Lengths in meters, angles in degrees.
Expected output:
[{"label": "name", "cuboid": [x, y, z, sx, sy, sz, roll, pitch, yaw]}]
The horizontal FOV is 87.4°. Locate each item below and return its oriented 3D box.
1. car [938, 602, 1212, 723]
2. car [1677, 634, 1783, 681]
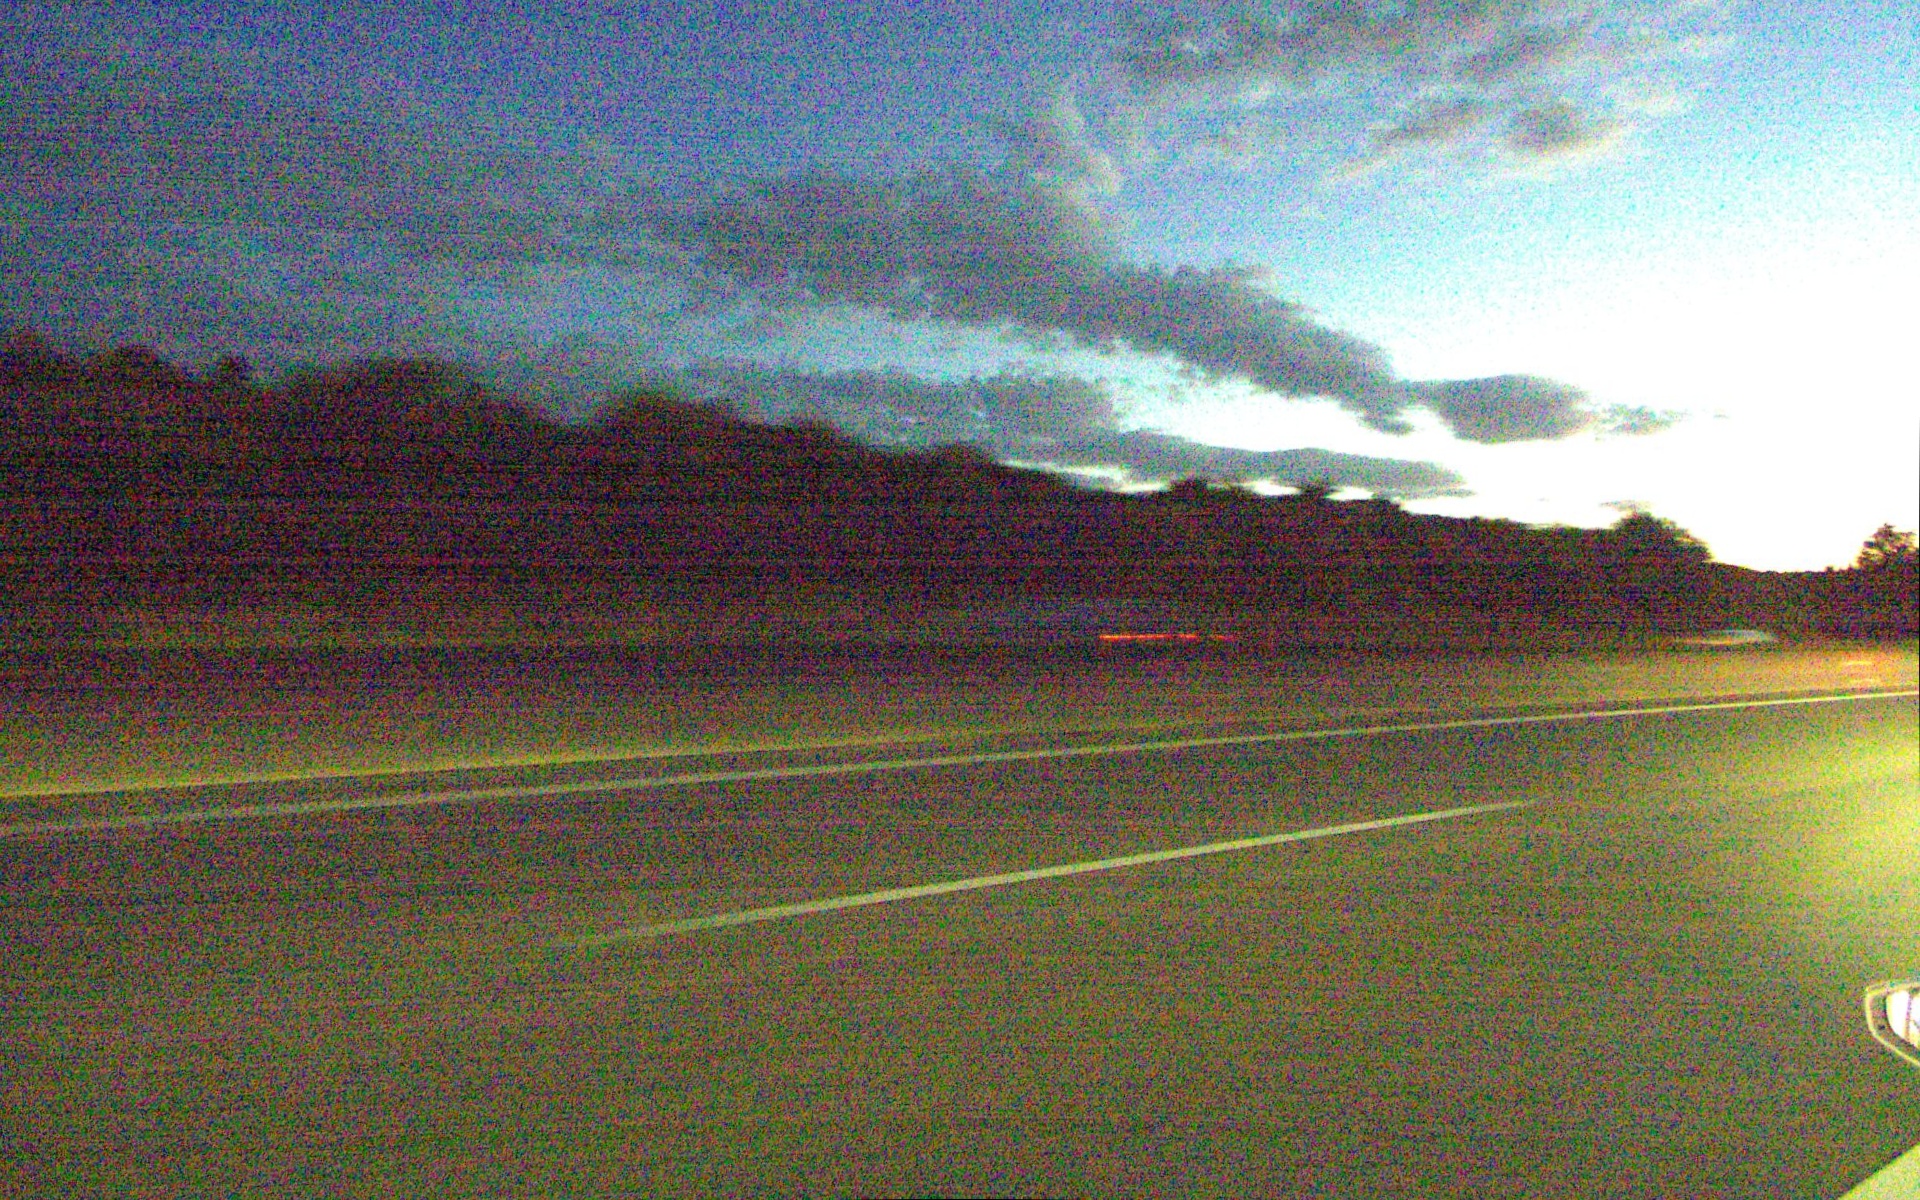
[{"label": "car", "cuboid": [2.183, 1.083, 18.783, 4.706, 1.981, 2.186, 1, 0, -30]}, {"label": "car", "cuboid": [35.351, 2.604, 46.098, 4.706, 1.981, 2.186, 1, 0, -30]}]
